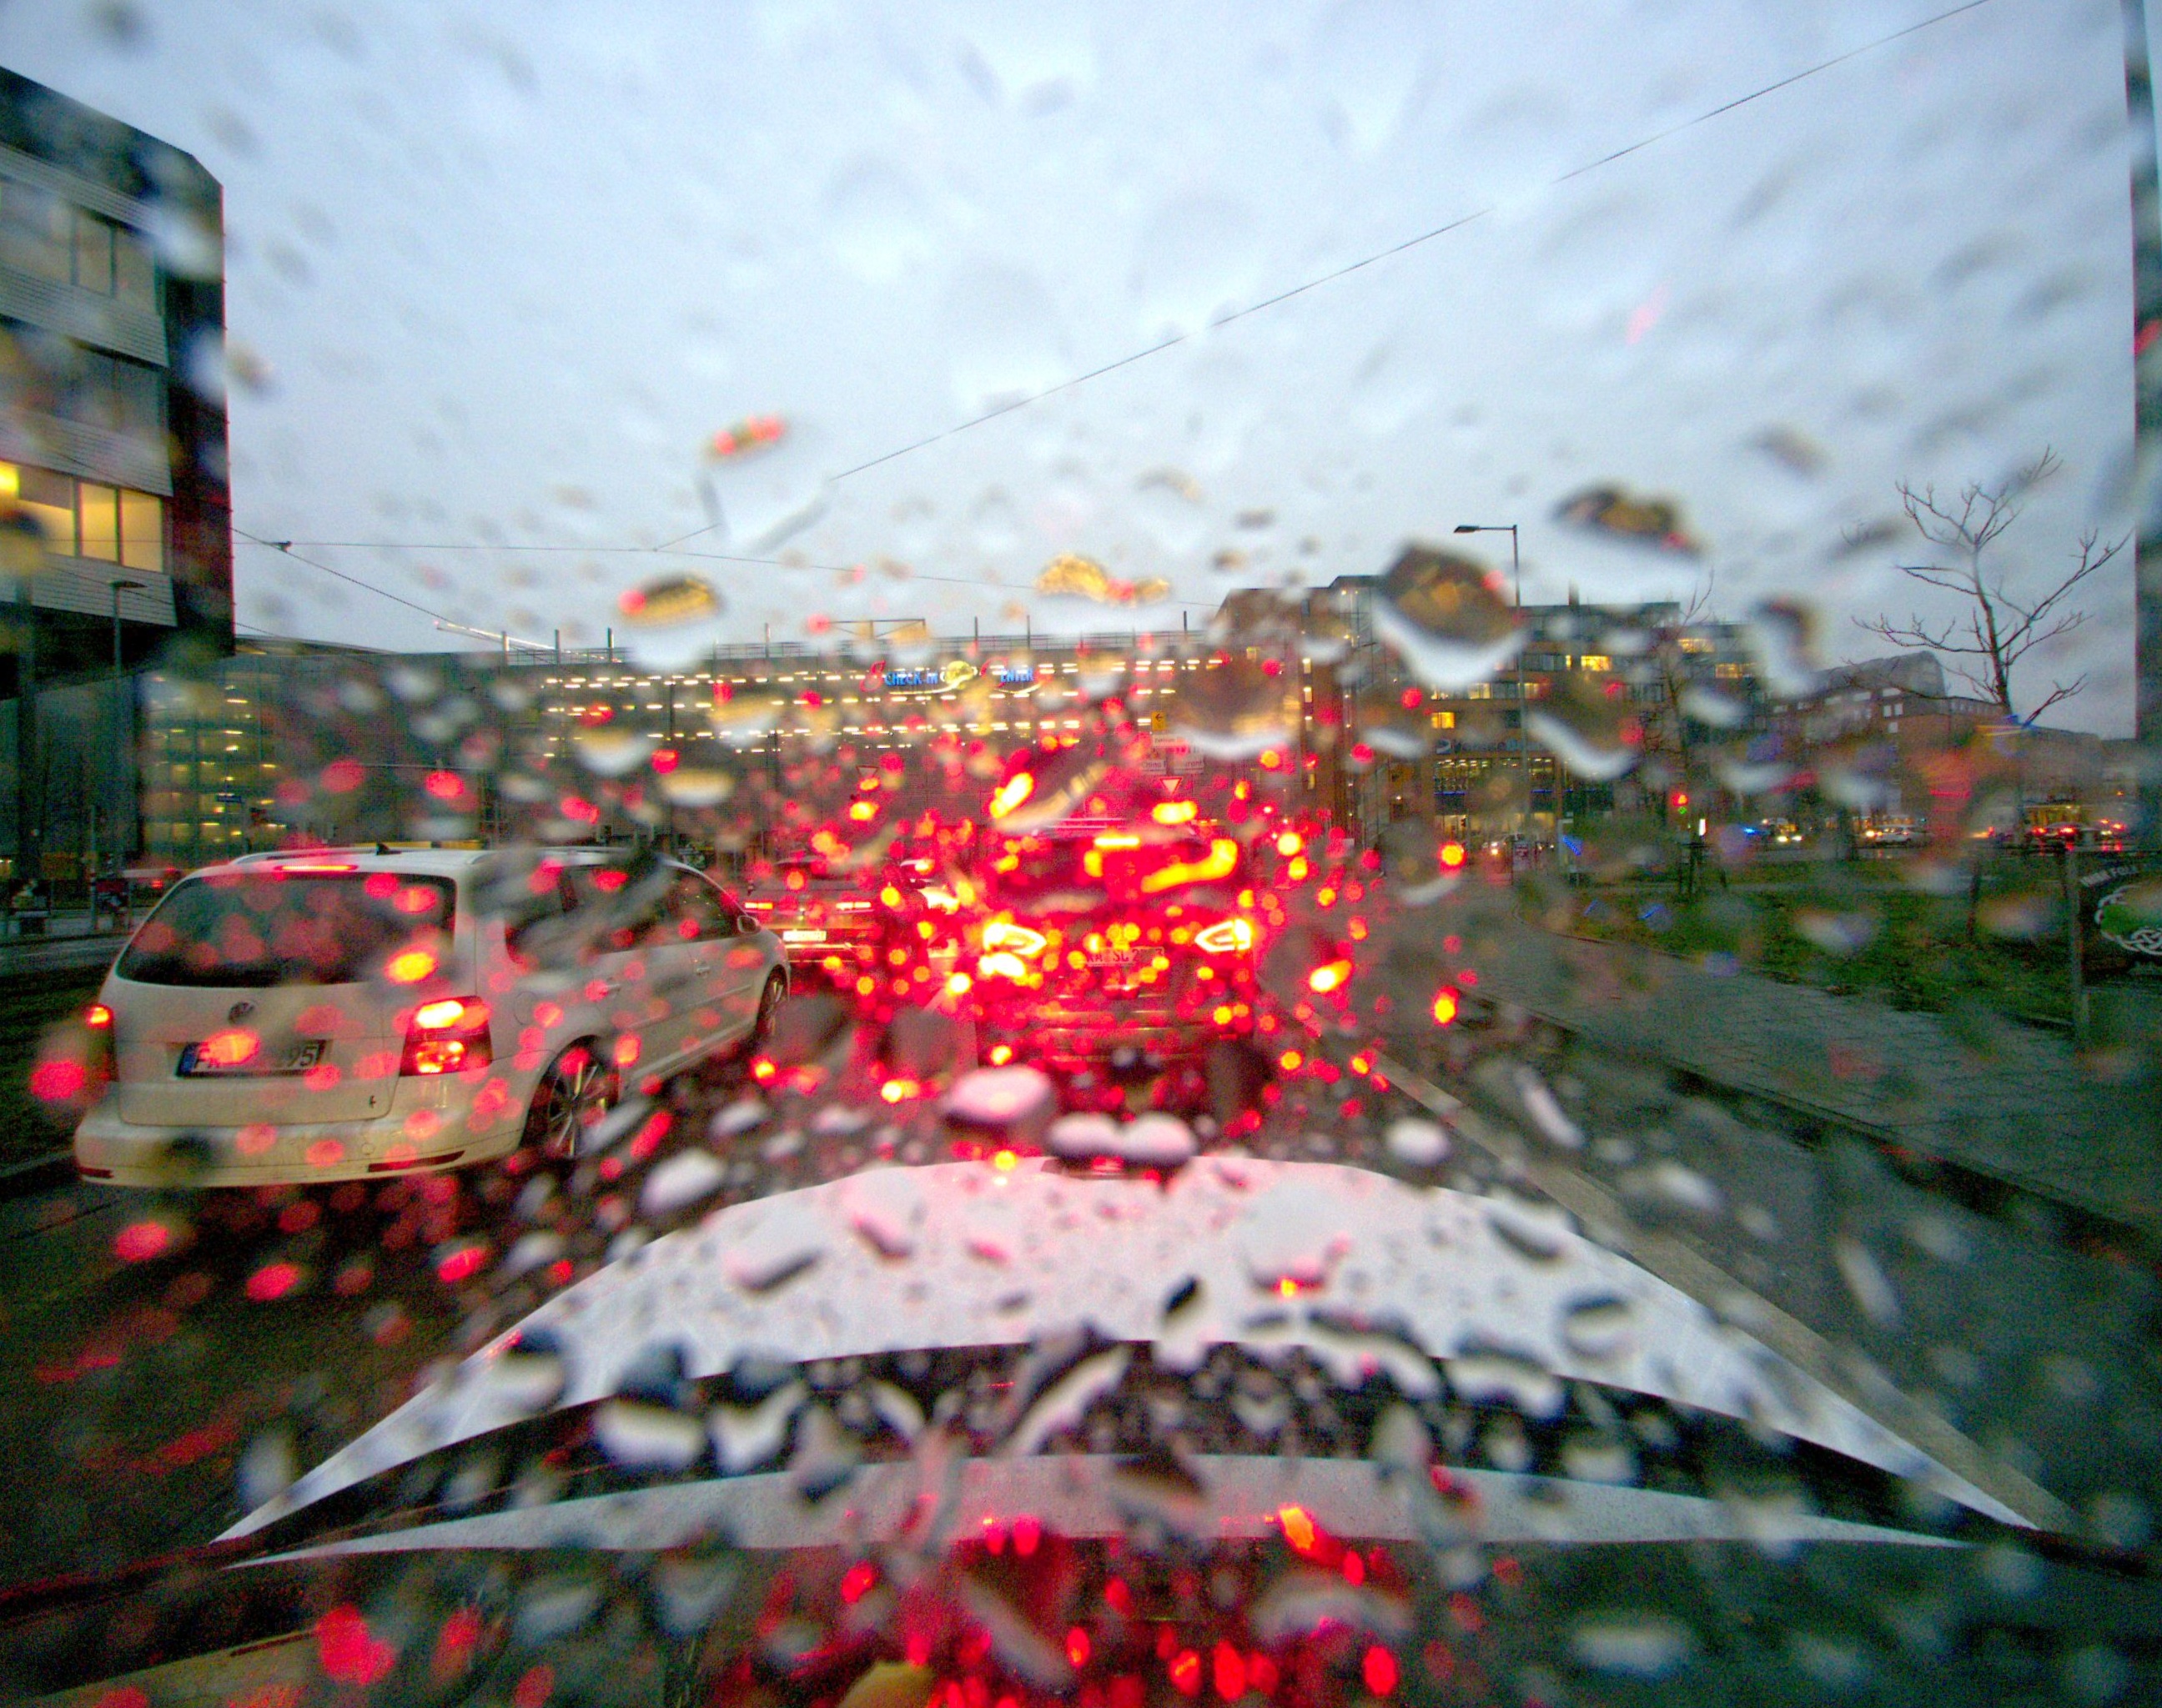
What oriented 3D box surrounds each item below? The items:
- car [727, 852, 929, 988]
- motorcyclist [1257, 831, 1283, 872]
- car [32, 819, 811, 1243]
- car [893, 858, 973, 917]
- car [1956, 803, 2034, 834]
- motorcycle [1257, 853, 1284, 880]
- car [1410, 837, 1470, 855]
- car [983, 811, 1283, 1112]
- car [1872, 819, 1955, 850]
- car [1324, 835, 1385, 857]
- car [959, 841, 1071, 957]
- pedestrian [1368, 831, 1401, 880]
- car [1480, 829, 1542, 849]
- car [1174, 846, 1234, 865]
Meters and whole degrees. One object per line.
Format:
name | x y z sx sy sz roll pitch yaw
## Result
car | -3.396 0.793 11.764 1.748 1.574 3.997 -2 0 -2
motorcyclist | 7.330 -0.095 31.635 0.863 1.534 1.110 -2 0 7
car | -3.276 0.683 5.278 1.665 1.660 4.147 1 0 0
car | -3.480 0.731 19.726 1.538 1.251 4.059 -1 0 -6
car | 64.362 -2.455 57.352 4.948 2.013 1.987 0 0 -20
motorcycle | 7.340 0.466 31.618 0.848 0.972 1.585 -2 0 7
car | 29.756 -0.658 67.616 4.209 1.390 1.796 -2 0 -6
car | 0.294 0.618 6.847 1.730 1.738 4.246 1 0 0
car | 56.601 -1.321 55.398 3.985 2.013 1.994 0 0 -9
car | 22.306 -0.648 66.525 4.413 1.595 1.796 -2 0 -6
car | -1.047 0.666 13.812 1.632 1.697 3.667 -1 0 -3
pedestrian | 12.171 0.032 32.633 1.159 1.924 0.904 1 0 25
car | 36.322 -1.232 68.829 4.425 1.534 1.796 -2 0 -6
car | 9.904 0.091 65.755 4.413 1.390 1.796 -2 0 -6
